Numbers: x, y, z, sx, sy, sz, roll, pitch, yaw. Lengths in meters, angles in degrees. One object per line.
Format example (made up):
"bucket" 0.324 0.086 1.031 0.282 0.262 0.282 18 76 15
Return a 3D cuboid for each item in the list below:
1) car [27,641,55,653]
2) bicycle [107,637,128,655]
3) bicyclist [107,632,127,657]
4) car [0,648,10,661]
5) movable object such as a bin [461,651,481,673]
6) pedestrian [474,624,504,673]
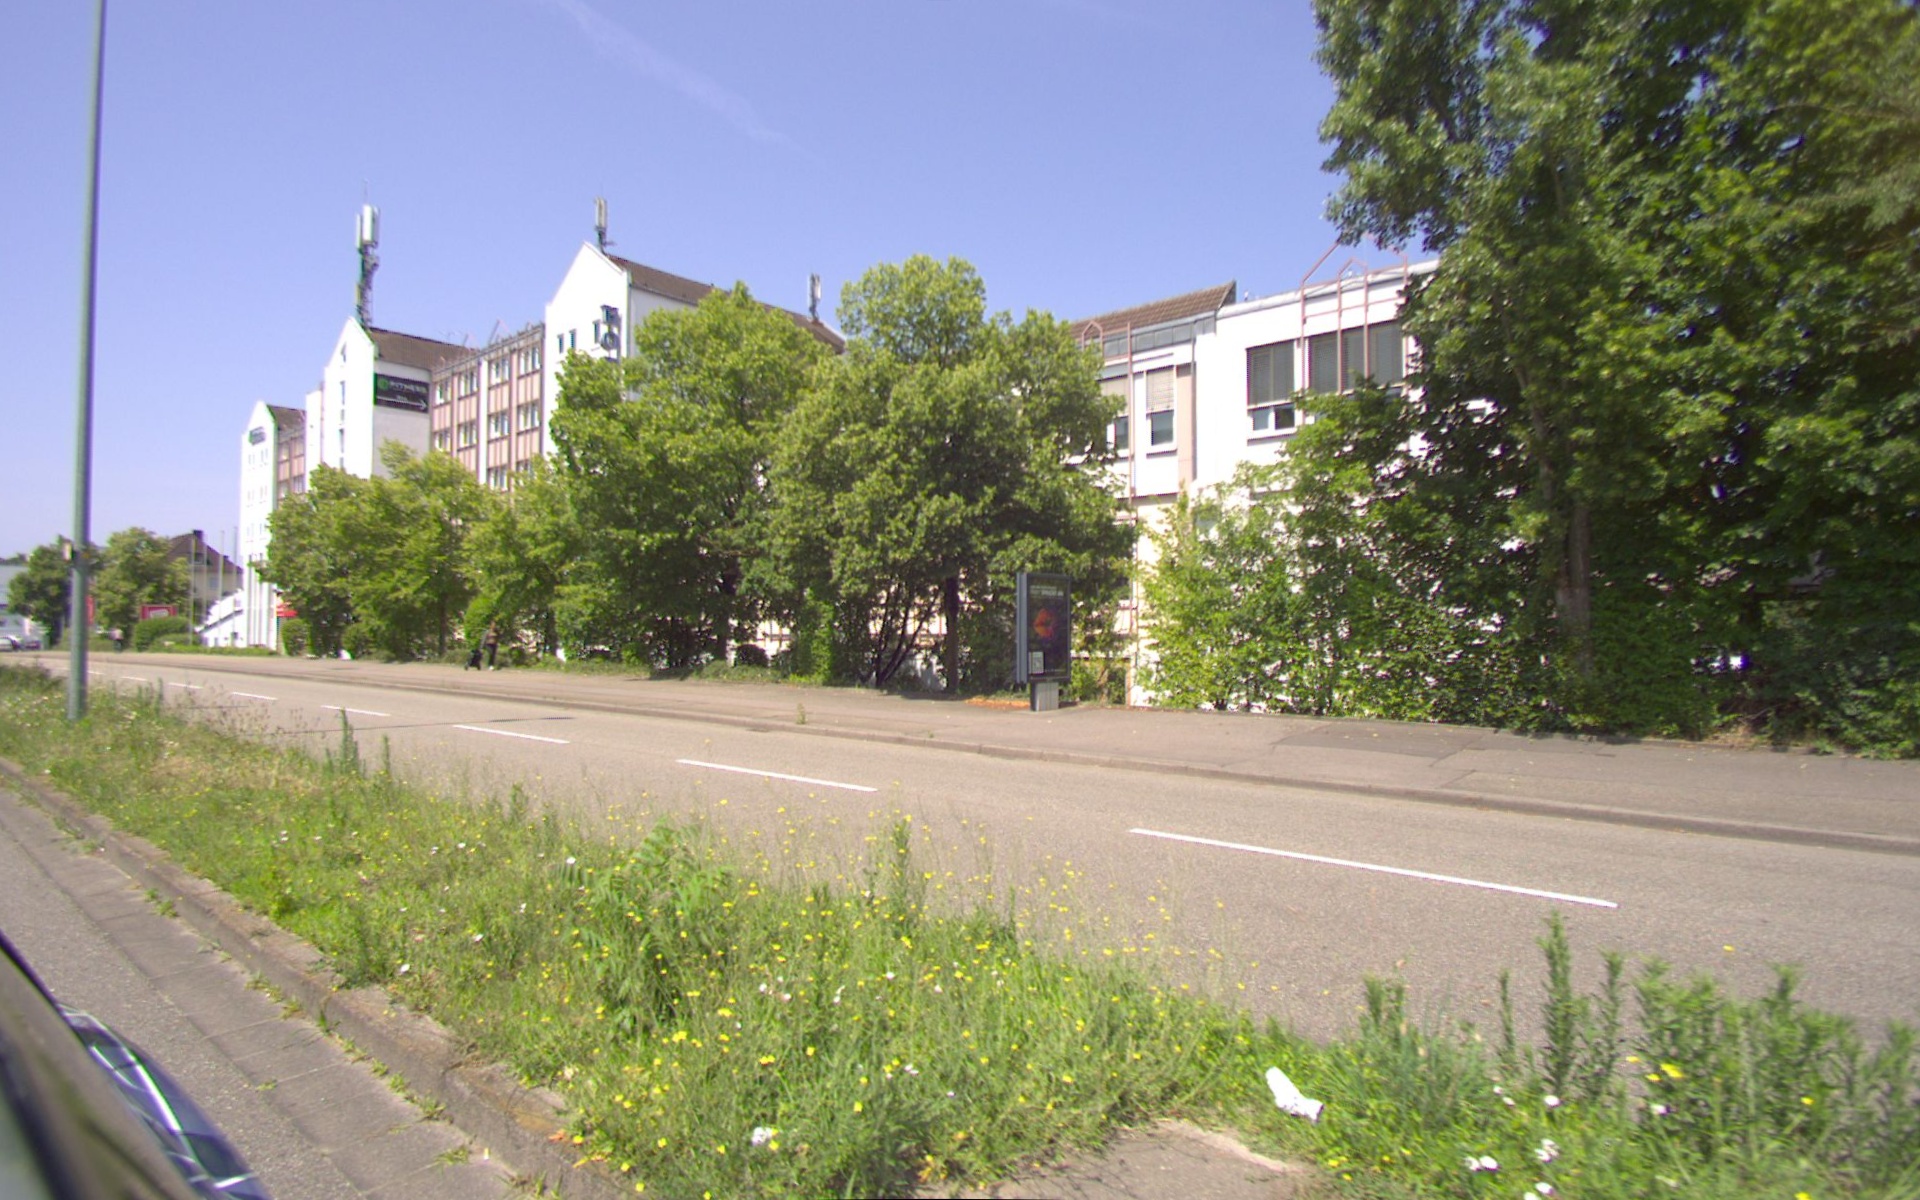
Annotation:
"car" -104.592 5.313 115.164 3.994 1.362 1.716 -2 -3 38
"bicycle" -52.265 2.860 62.753 2.060 1.081 0.545 -2 -2 38
"bicyclist" -52.281 2.740 62.740 1.025 1.528 0.710 -2 -3 37
"car" -107.525 6.098 113.160 4.761 1.421 1.755 -3 -4 45
"movable object such as a bin" -15.839 2.004 32.777 0.423 0.711 0.653 2 -3 -41
"pedestrian" -15.264 1.575 32.795 0.727 1.556 0.626 -2 -3 40
